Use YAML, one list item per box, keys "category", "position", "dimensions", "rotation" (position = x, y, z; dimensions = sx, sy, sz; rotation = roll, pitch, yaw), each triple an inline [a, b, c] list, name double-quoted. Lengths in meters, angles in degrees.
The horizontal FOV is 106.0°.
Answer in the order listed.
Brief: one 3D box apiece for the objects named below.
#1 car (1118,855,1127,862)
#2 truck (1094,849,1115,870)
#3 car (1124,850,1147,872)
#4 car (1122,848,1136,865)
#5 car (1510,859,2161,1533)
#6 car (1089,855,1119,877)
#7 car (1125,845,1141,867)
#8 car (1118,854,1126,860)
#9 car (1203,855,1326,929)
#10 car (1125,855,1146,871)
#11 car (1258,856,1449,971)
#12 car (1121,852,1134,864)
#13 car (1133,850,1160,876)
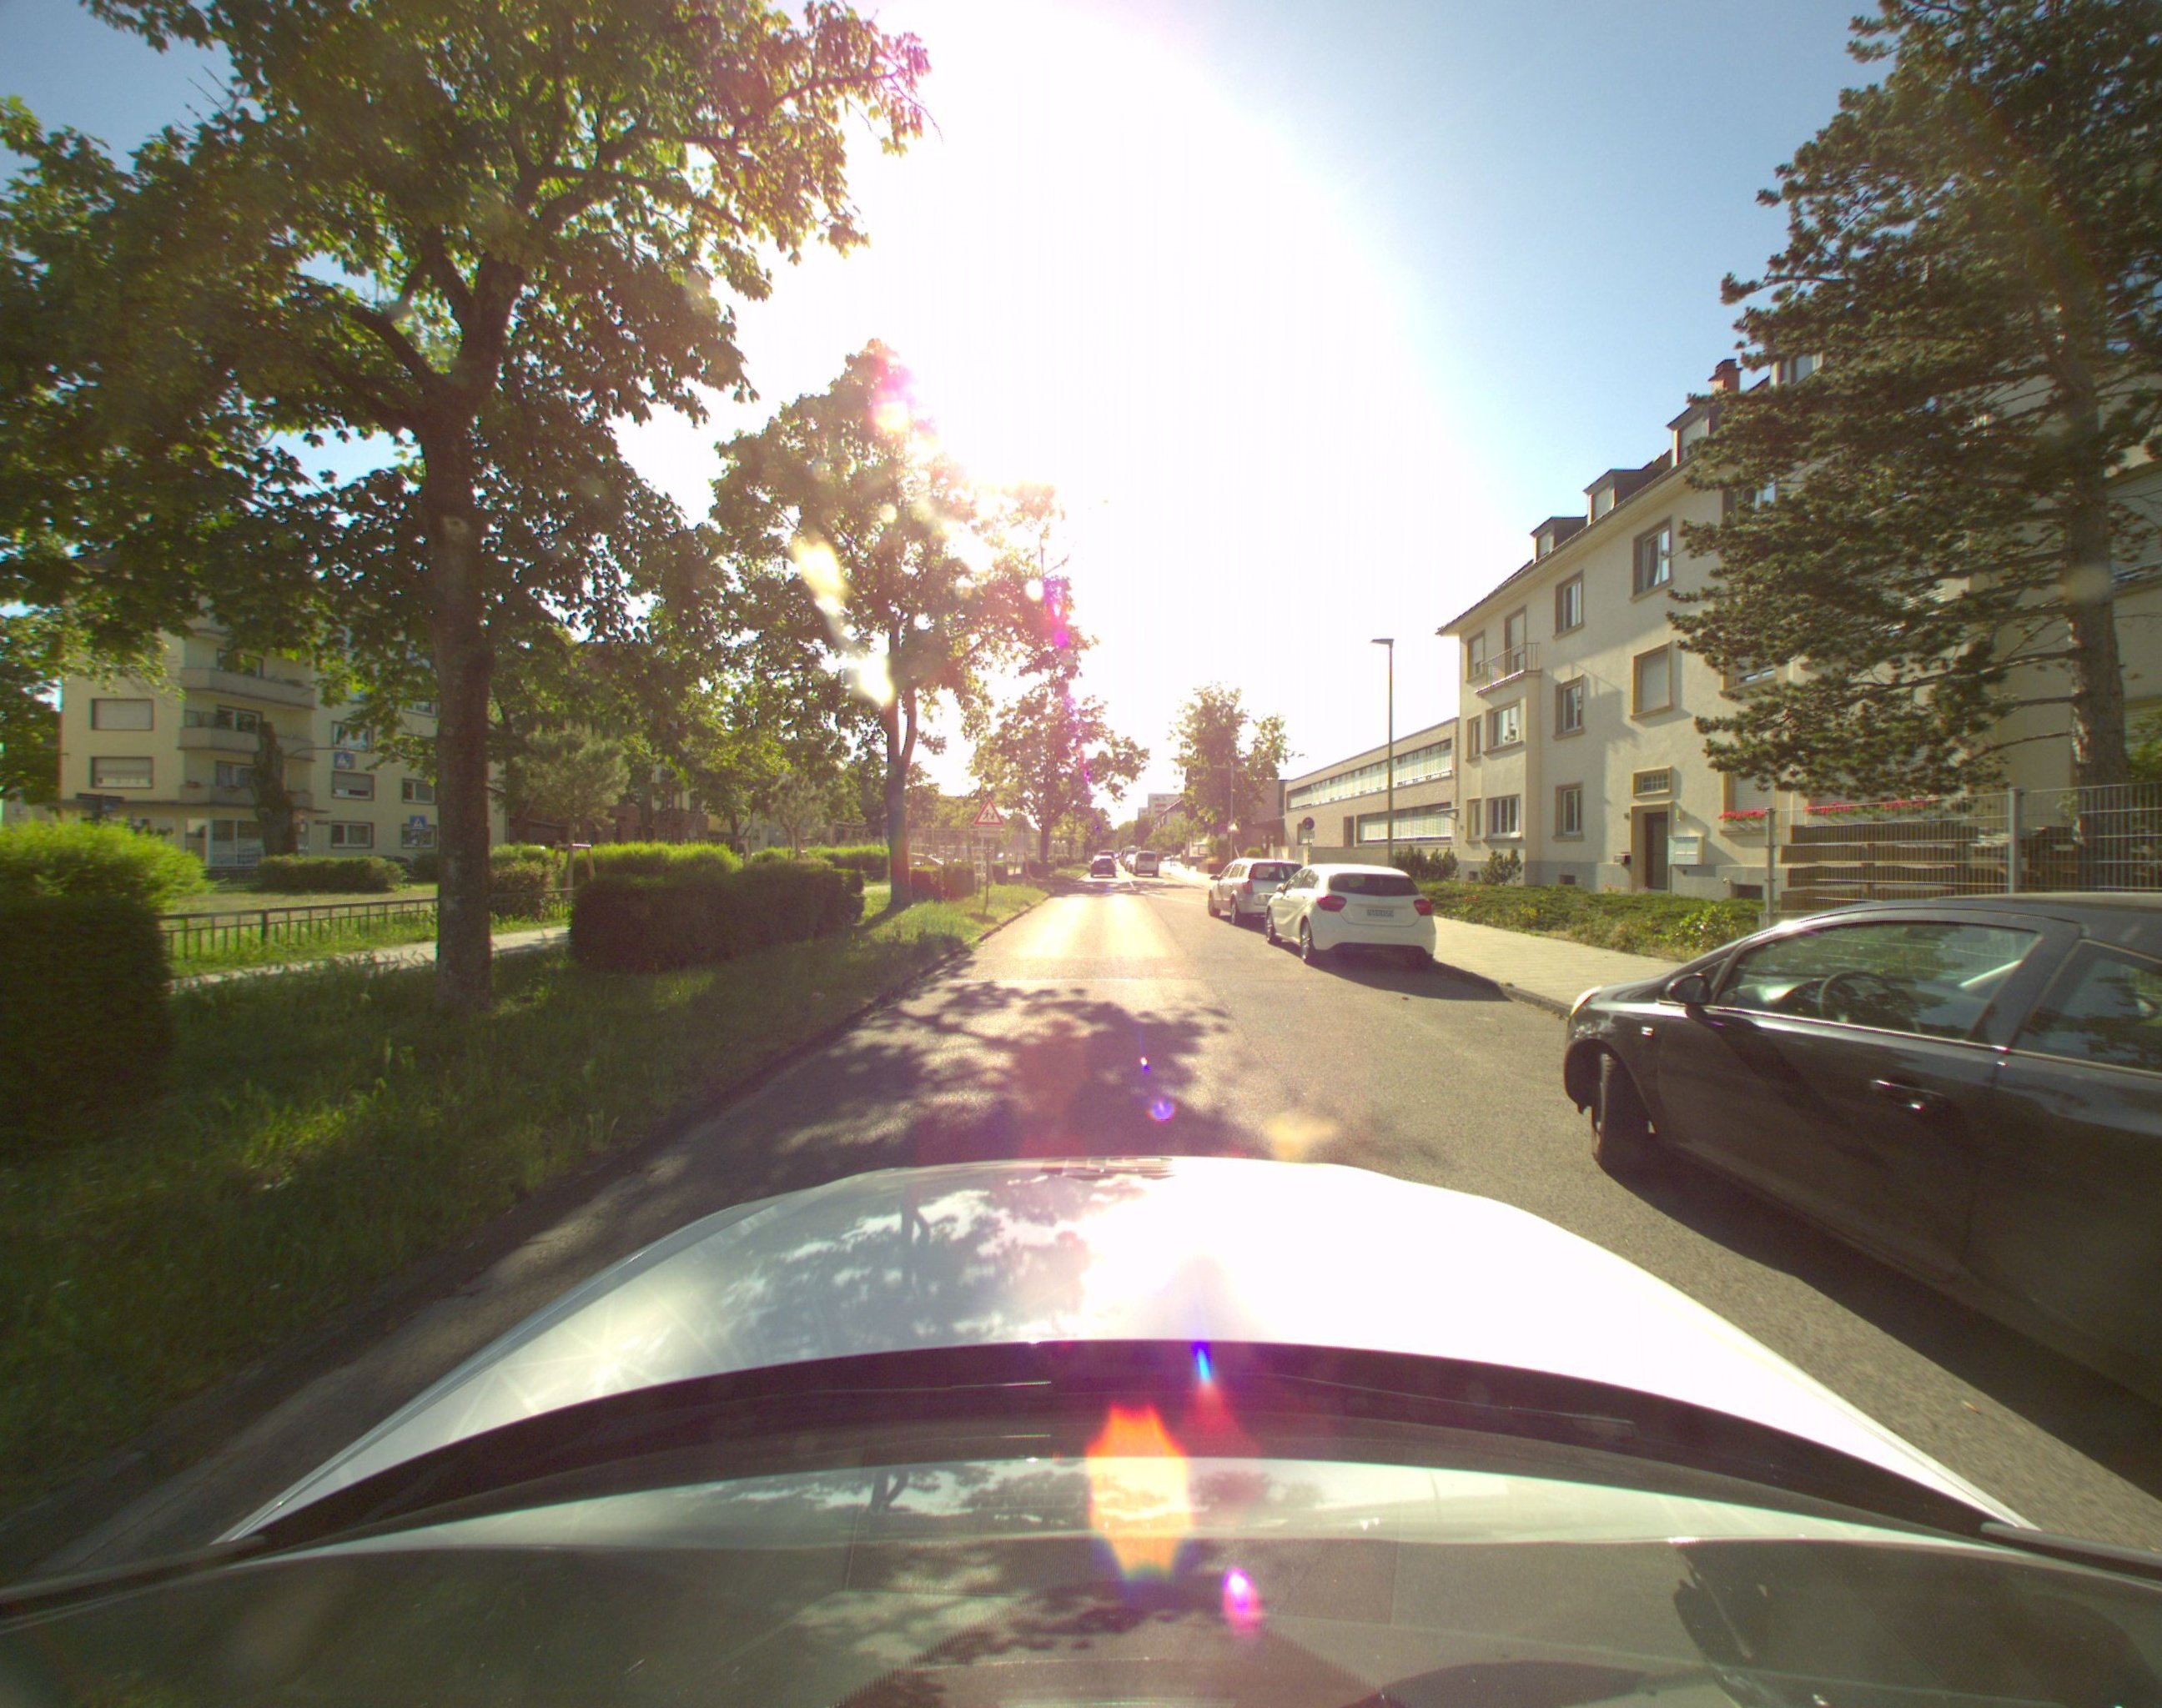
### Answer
- category: "car"
  position: [8.159, 0.866, 160.856]
  dimensions: [1.810, 1.358, 4.002]
  rotation: [0, 0, 2]
- category: "truck"
  position: [2.350, 0.529, 81.375]
  dimensions: [1.986, 2.036, 4.876]
  rotation: [0, 0, 1]
- category: "car"
  position: [4.724, 0.617, 70.868]
  dimensions: [1.810, 1.830, 4.002]
  rotation: [0, 0, 2]
- category: "car"
  position: [6.754, 0.335, 113.947]
  dimensions: [1.810, 2.353, 4.002]
  rotation: [0, 0, 2]
- category: "car"
  position: [3.310, 0.795, 2.878]
  dimensions: [1.665, 1.494, 3.828]
  rotation: [1, 0, 2]
- category: "car"
  position: [1.578, 0.829, 57.644]
  dimensions: [1.988, 1.524, 4.754]
  rotation: [0, 0, -1]
- category: "car"
  position: [6.192, 0.268, 96.911]
  dimensions: [1.810, 2.518, 4.002]
  rotation: [0, 0, 2]
- category: "car"
  position: [10.179, 0.792, 201.440]
  dimensions: [1.810, 1.358, 4.002]
  rotation: [0, 0, 2]
- category: "car"
  position: [4.167, 0.802, 19.094]
  dimensions: [1.791, 1.494, 3.996]
  rotation: [1, 0, -3]
- category: "car"
  position: [5.089, 0.837, 76.531]
  dimensions: [1.810, 1.399, 4.002]
  rotation: [0, 0, 2]
- category: "car"
  position: [4.104, 0.808, 12.959]
  dimensions: [1.788, 1.494, 4.002]
  rotation: [1, 0, 2]
- category: "car"
  position: [7.157, 0.628, 125.933]
  dimensions: [1.810, 1.835, 4.002]
  rotation: [0, 0, 2]
- category: "car"
  position: [4.800, 0.627, 60.355]
  dimensions: [1.810, 1.830, 4.002]
  rotation: [0, 0, 2]
